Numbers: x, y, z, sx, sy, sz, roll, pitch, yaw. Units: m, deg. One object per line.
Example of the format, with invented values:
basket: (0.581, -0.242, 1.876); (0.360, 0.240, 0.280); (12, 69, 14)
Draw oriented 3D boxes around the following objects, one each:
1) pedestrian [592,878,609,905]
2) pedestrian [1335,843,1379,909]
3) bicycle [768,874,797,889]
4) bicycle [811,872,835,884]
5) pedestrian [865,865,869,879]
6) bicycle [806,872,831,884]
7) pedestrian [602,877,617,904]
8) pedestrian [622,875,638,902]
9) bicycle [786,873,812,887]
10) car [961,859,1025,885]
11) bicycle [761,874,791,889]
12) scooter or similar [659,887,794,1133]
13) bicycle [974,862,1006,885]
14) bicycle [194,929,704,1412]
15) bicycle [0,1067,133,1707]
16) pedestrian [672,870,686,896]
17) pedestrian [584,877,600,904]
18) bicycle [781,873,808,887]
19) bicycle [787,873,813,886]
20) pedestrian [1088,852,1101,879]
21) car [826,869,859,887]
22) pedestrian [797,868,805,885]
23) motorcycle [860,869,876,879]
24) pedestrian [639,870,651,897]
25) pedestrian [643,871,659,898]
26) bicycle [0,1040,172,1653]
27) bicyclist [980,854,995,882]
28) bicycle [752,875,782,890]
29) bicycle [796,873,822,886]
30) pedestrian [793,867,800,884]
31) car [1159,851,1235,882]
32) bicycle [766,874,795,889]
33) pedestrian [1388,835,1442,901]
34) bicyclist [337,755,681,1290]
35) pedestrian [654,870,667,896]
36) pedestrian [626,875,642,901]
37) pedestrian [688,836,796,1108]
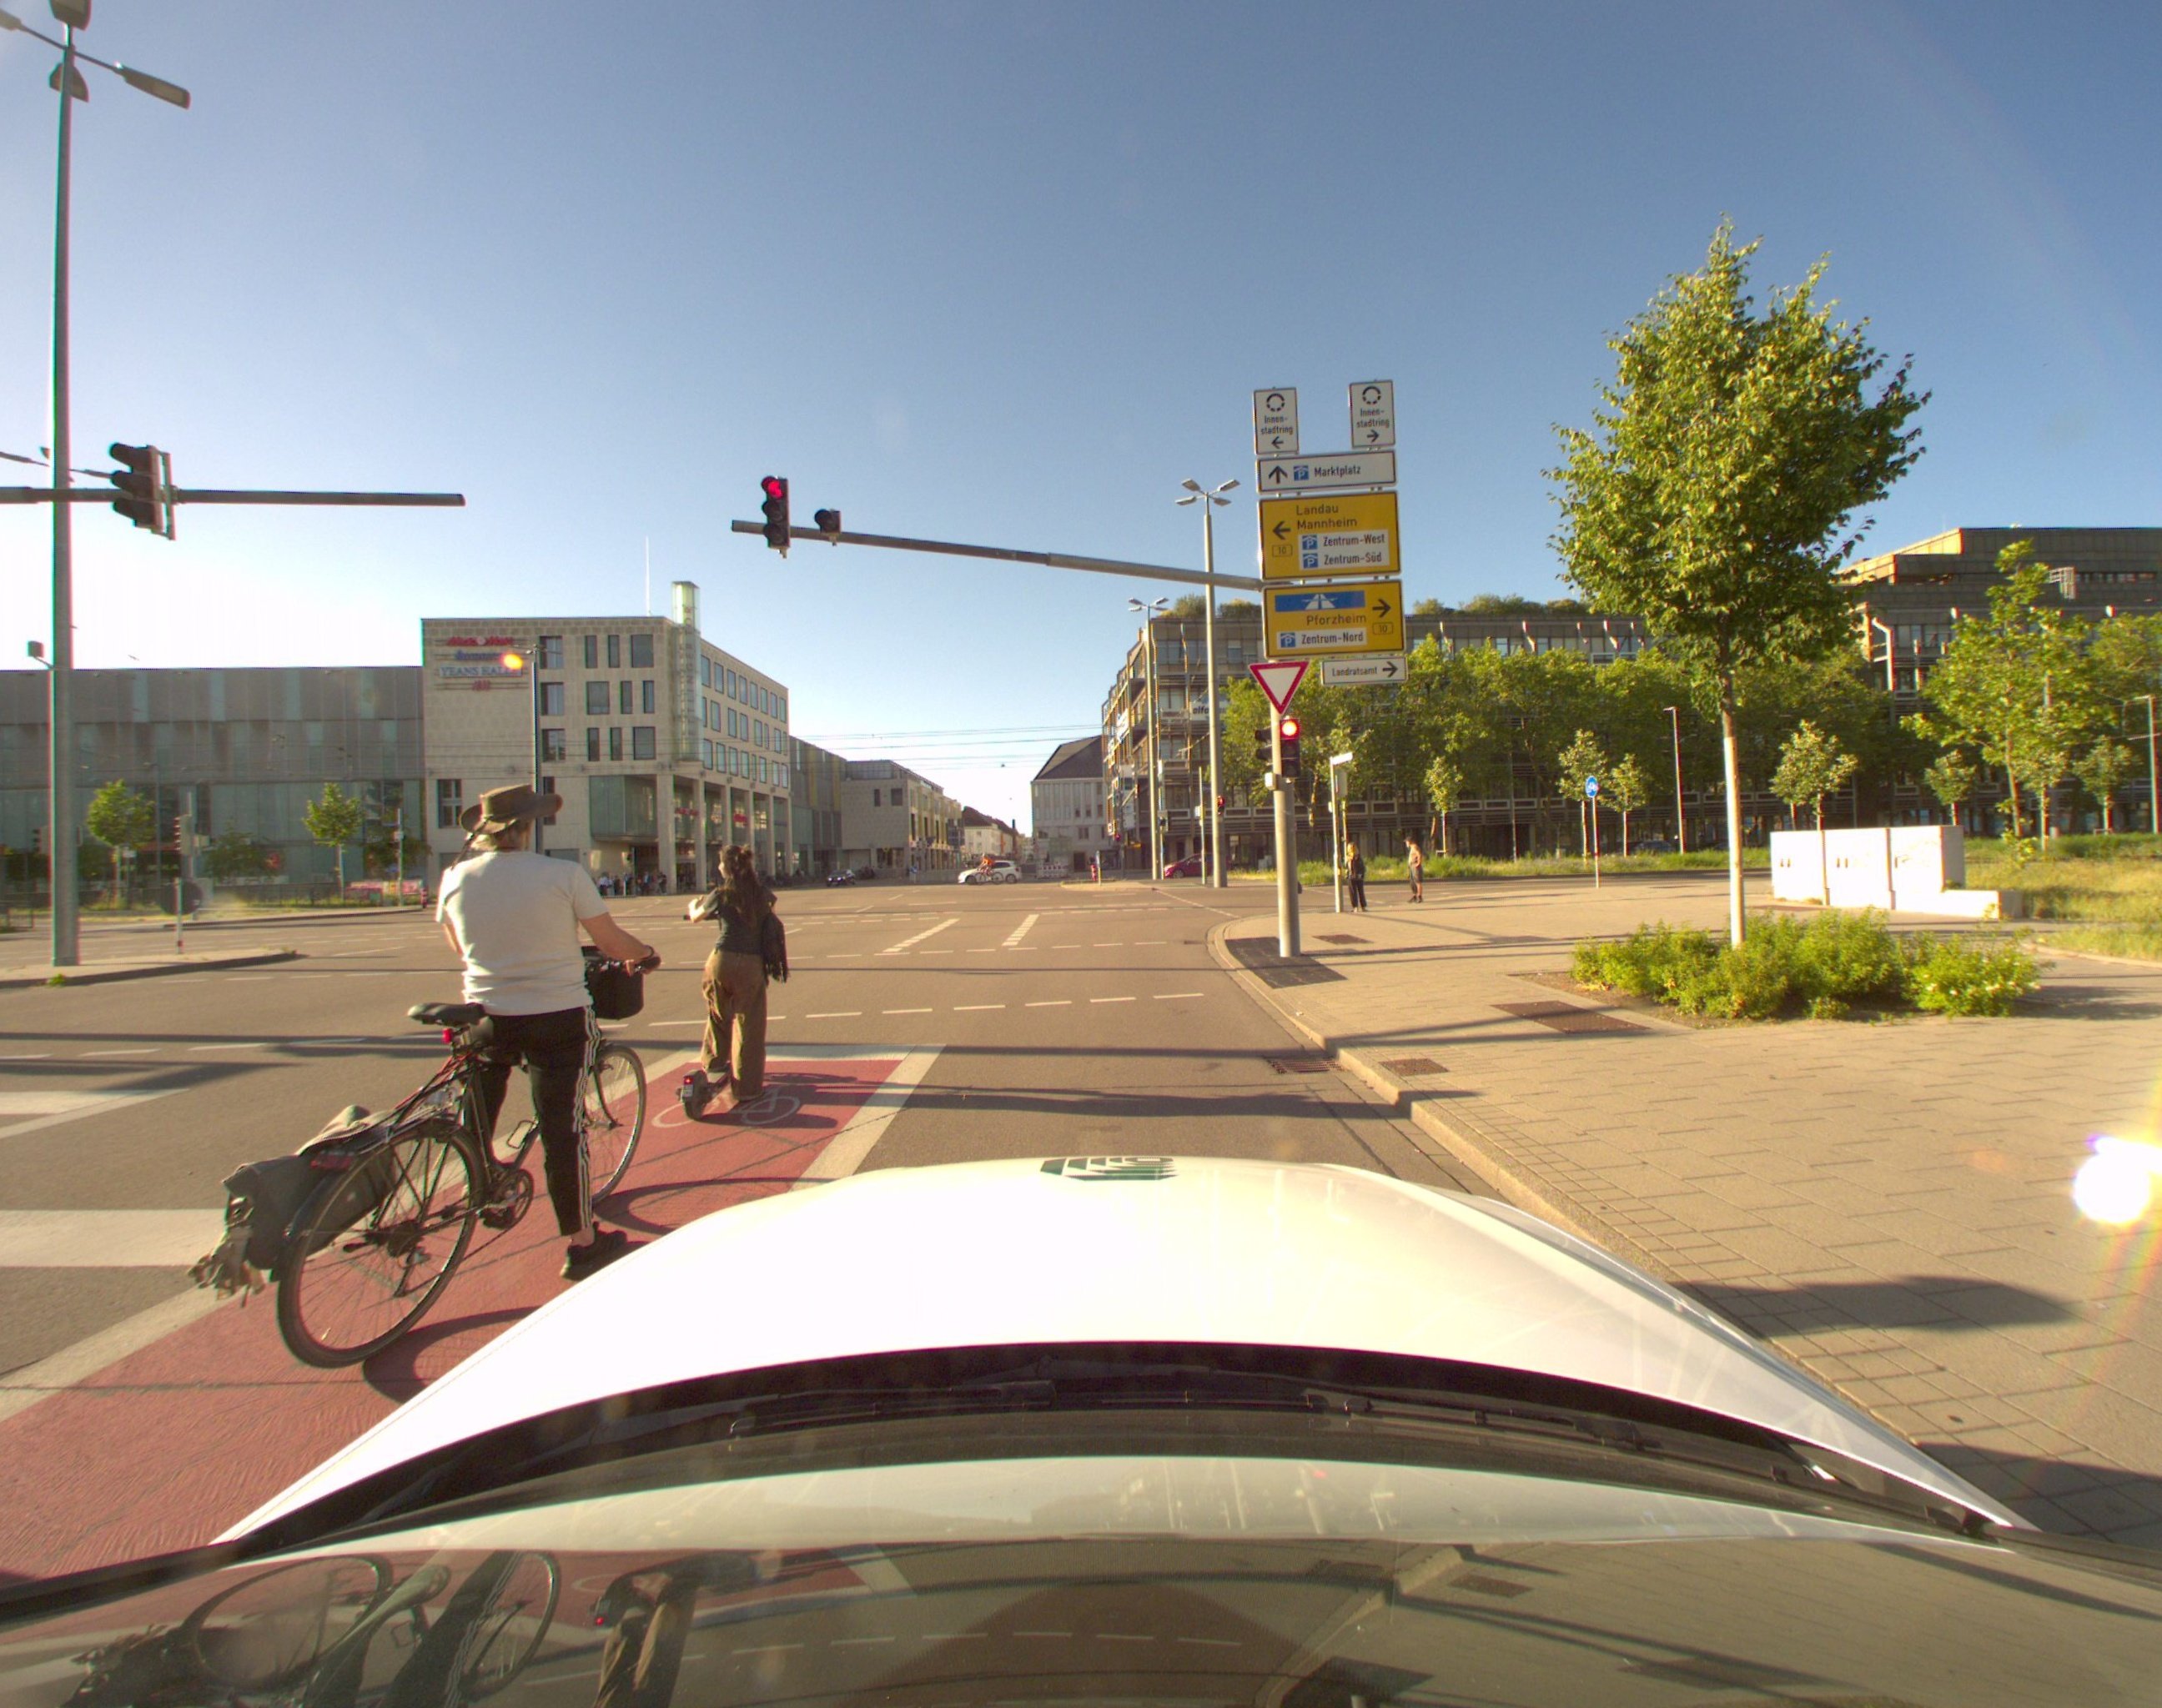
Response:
pedestrian: (-33.871, 2.611, 57.373); (0.783, 1.885, 0.716); (0, -1, -4)
pedestrian: (6.308, 0.501, 18.656); (0.785, 1.492, 0.644); (0, -1, 1)
bicycle: (-26.743, 2.433, 72.896); (2.299, 1.222, 0.612); (-2, 0, -1)
bicycle: (-27.427, 2.551, 86.647); (2.299, 1.222, 0.612); (-2, 0, -1)
pedestrian: (-26.105, 2.186, 99.355); (0.521, 1.679, 0.580); (0, 0, -12)
bicycle: (-27.591, 2.544, 85.581); (2.299, 1.222, 0.612); (-2, 0, -1)
pedestrian: (-33.994, 2.623, 58.720); (0.714, 1.885, 0.786); (0, -1, -6)
pedestrian: (-31.948, 2.449, 57.692); (0.783, 1.885, 0.716); (0, -1, -4)
bicycle: (-27.066, 2.479, 78.131); (2.299, 1.222, 0.612); (-2, 0, -1)
car: (-5.421, 1.110, 50.715); (3.892, 1.585, 1.656); (0, -1, -5)
bicycle: (-26.465, 2.413, 70.651); (2.299, 1.222, 0.612); (-2, 0, -1)
scooter or similar: (-2.157, 0.873, 5.075); (0.547, 1.294, 1.188); (0, -1, -13)
bicycle: (-4.777, 1.024, 42.714); (1.648, 1.154, 0.494); (0, -1, -16)
bicycle: (-2.149, 0.946, 3.139); (0.483, 1.156, 1.832); (0, -1, 2)
bicycle: (-1.672, 0.921, 0.255); (0.614, 1.218, 1.831); (0, 0, -1)
pedestrian: (-29.108, 2.064, 58.940); (0.801, 1.843, 0.855); (-2, 0, -30)
pedestrian: (-35.020, 2.595, 58.336); (0.783, 1.885, 0.716); (0, -1, -4)
bicycle: (-26.700, 2.458, 75.963); (2.299, 1.222, 0.612); (-2, 0, -1)
bicycle: (-27.632, 2.499, 80.126); (2.299, 1.222, 0.612); (-2, 0, -1)
pedestrian: (0.986, 0.836, 59.329); (0.636, 1.890, 0.795); (-1, -1, 28)
car: (-20.627, 2.047, 70.507); (1.625, 1.342, 3.999); (-4, -1, 0)
pedestrian: (-28.288, 2.302, 82.273); (0.650, 1.719, 0.447); (-2, 0, -22)
motorcycle: (-25.785, 2.425, 98.739); (1.807, 1.206, 0.509); (0, 0, -14)
pedestrian: (-31.218, 2.090, 58.288); (0.718, 1.885, 0.781); (0, -1, -25)
pedestrian: (-31.887, 2.244, 60.396); (0.883, 2.014, 0.771); (0, -1, -9)
bicycle: (-2.398, 0.985, 0.872); (0.645, 1.109, 1.970); (0, 0, -1)
bicyclist: (-4.907, 0.735, 42.671); (0.712, 1.437, 0.494); (0, -1, -16)
bicycle: (-26.736, 2.405, 69.374); (2.299, 1.222, 0.612); (-2, 0, -1)
bicycle: (-27.188, 2.506, 81.343); (2.299, 1.222, 0.612); (-2, 0, -1)
pedestrian: (-29.780, 2.257, 85.328); (0.570, 1.679, 0.614); (0, 0, -8)
car: (6.409, 0.678, 45.368); (3.879, 1.585, 1.656); (-2, -1, -6)
bicycle: (-26.568, 2.425, 72.011); (2.299, 1.222, 0.612); (-2, 0, -1)
pedestrian: (8.630, 0.361, 21.072); (0.881, 1.665, 0.958); (0, -1, -19)
bicyclist: (-2.056, 0.546, 3.062); (0.658, 1.720, 0.866); (0, -1, 1)
pedestrian: (-30.795, 2.117, 59.666); (0.800, 1.843, 0.856); (-2, 0, -26)
pedestrian: (-32.515, 2.466, 59.243); (0.783, 1.885, 0.716); (0, -1, -4)
pedestrian: (-2.163, 0.708, 5.244); (0.549, 1.633, 0.569); (0, -1, -13)
